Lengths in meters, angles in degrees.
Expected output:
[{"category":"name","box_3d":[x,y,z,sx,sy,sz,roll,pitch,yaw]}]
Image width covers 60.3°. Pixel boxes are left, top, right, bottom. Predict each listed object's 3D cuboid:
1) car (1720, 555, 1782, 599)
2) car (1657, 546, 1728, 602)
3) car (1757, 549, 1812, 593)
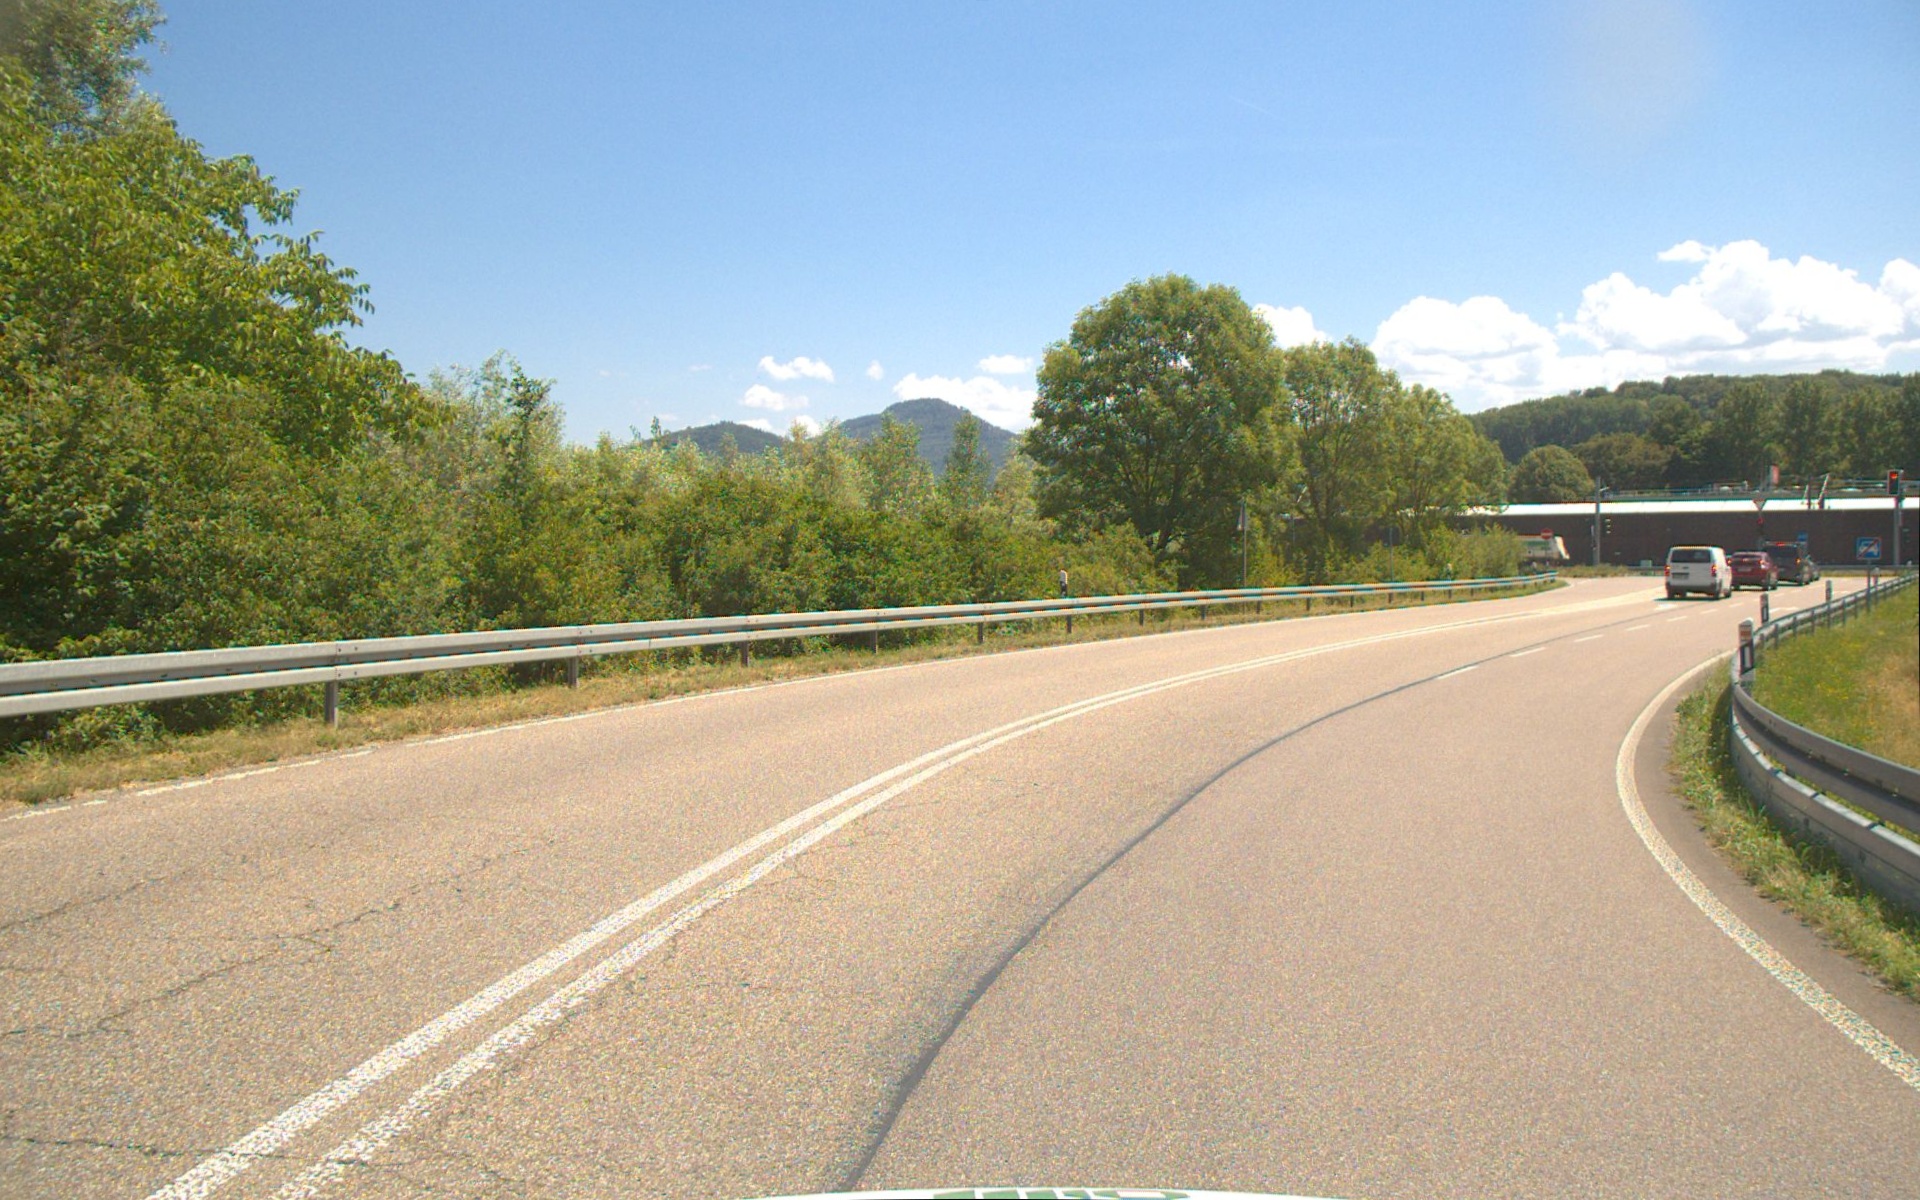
[{"category":"car","box_3d":[34.806,-1.029,72.750,1.958,1.844,3.989,-1,1,33]},{"category":"car","box_3d":[27.473,-0.993,62.012,1.837,1.998,3.990,1,2,33]},{"category":"car","box_3d":[40.118,-1.408,80.462,1.958,2.048,3.989,-1,1,33]}]
